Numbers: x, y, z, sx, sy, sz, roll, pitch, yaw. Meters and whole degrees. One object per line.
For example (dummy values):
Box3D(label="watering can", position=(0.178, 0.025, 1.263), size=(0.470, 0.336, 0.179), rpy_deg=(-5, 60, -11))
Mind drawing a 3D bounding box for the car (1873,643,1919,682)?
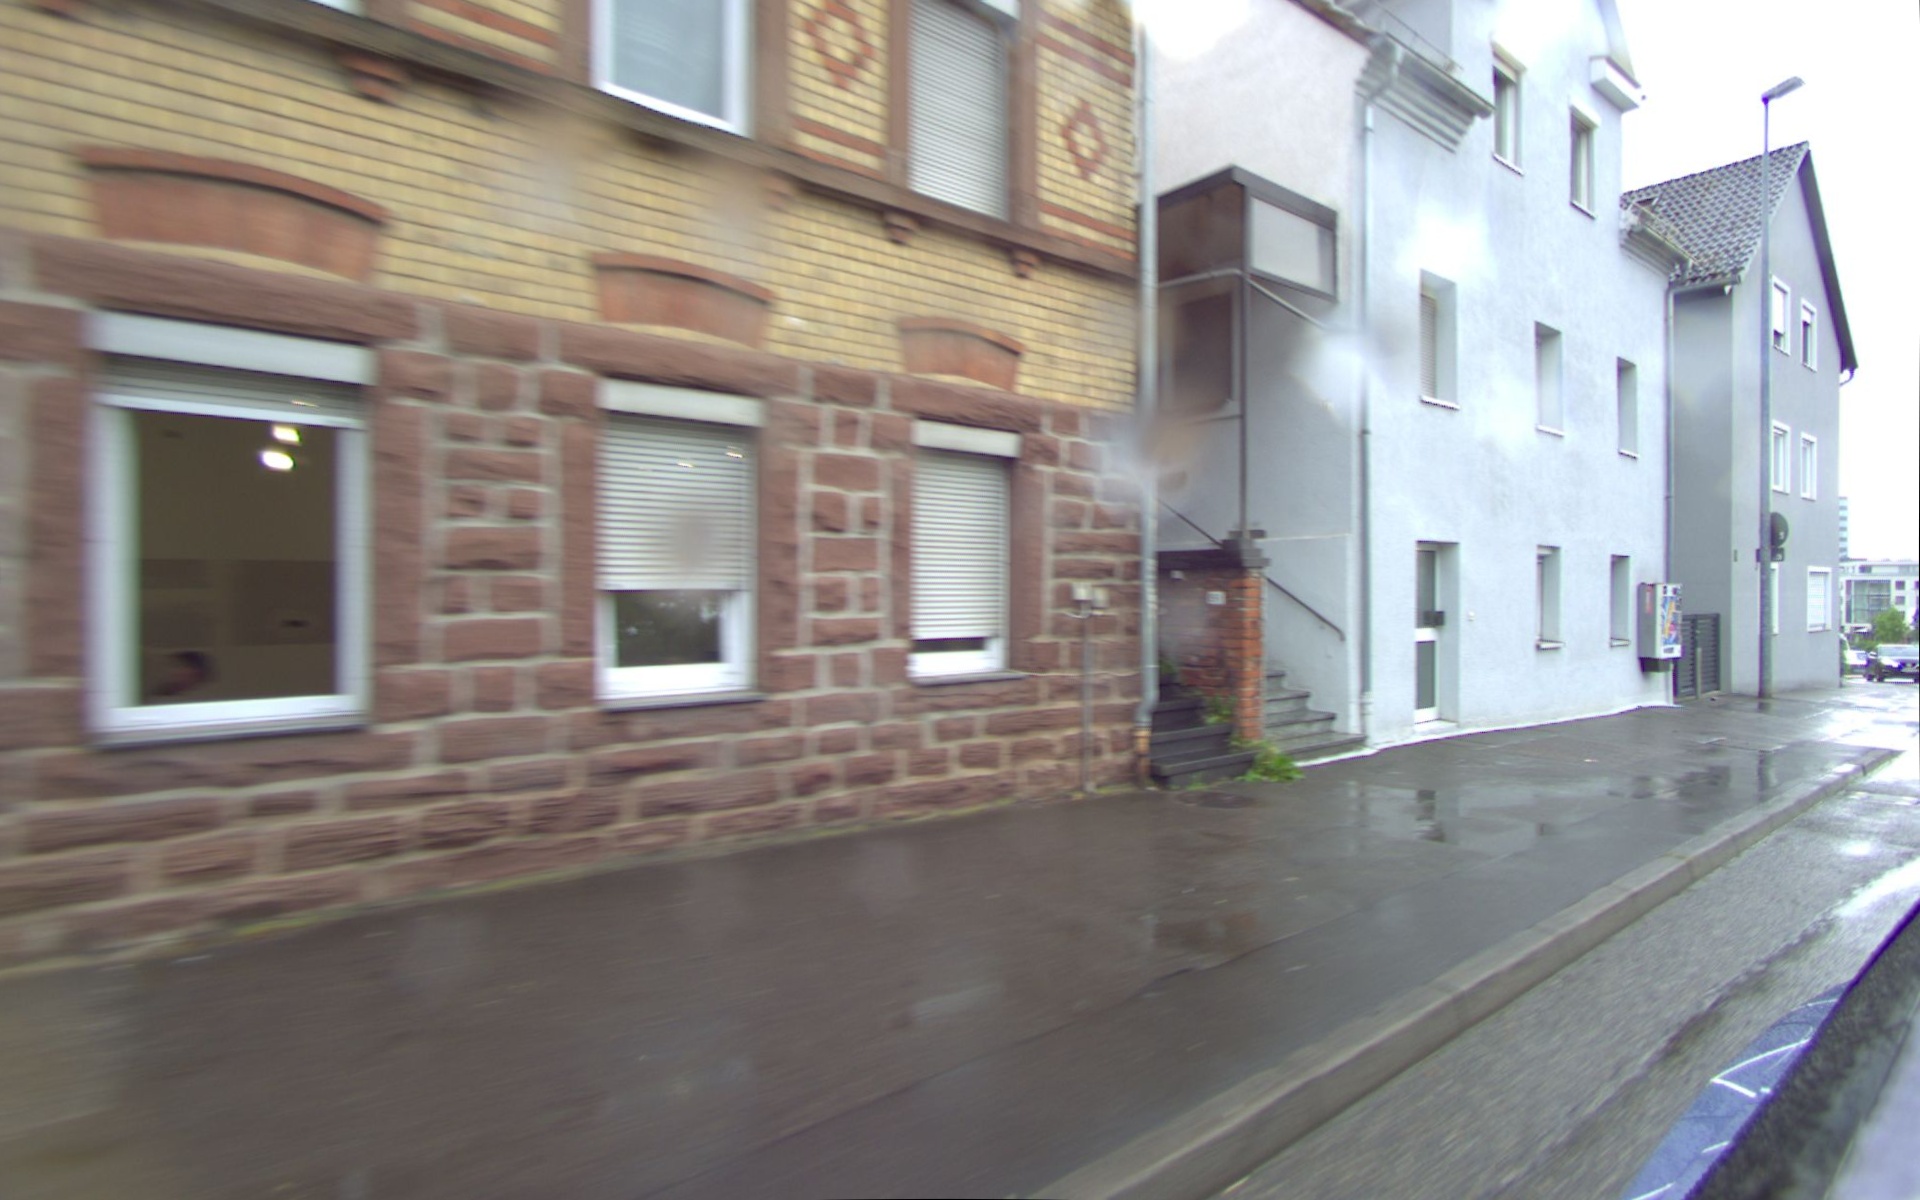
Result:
Box3D(label="car", position=(39.841, 2.635, 42.466), size=(1.892, 1.516, 4.874), rpy_deg=(0, -3, 38))

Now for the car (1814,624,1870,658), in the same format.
Box3D(label="car", position=(53.748, 2.519, 61.750), size=(2.018, 1.962, 4.880), rpy_deg=(0, -3, 35))

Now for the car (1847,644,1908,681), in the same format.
Box3D(label="car", position=(46.962, 3.215, 51.895), size=(1.891, 1.746, 4.402), rpy_deg=(-1, -4, 37))
